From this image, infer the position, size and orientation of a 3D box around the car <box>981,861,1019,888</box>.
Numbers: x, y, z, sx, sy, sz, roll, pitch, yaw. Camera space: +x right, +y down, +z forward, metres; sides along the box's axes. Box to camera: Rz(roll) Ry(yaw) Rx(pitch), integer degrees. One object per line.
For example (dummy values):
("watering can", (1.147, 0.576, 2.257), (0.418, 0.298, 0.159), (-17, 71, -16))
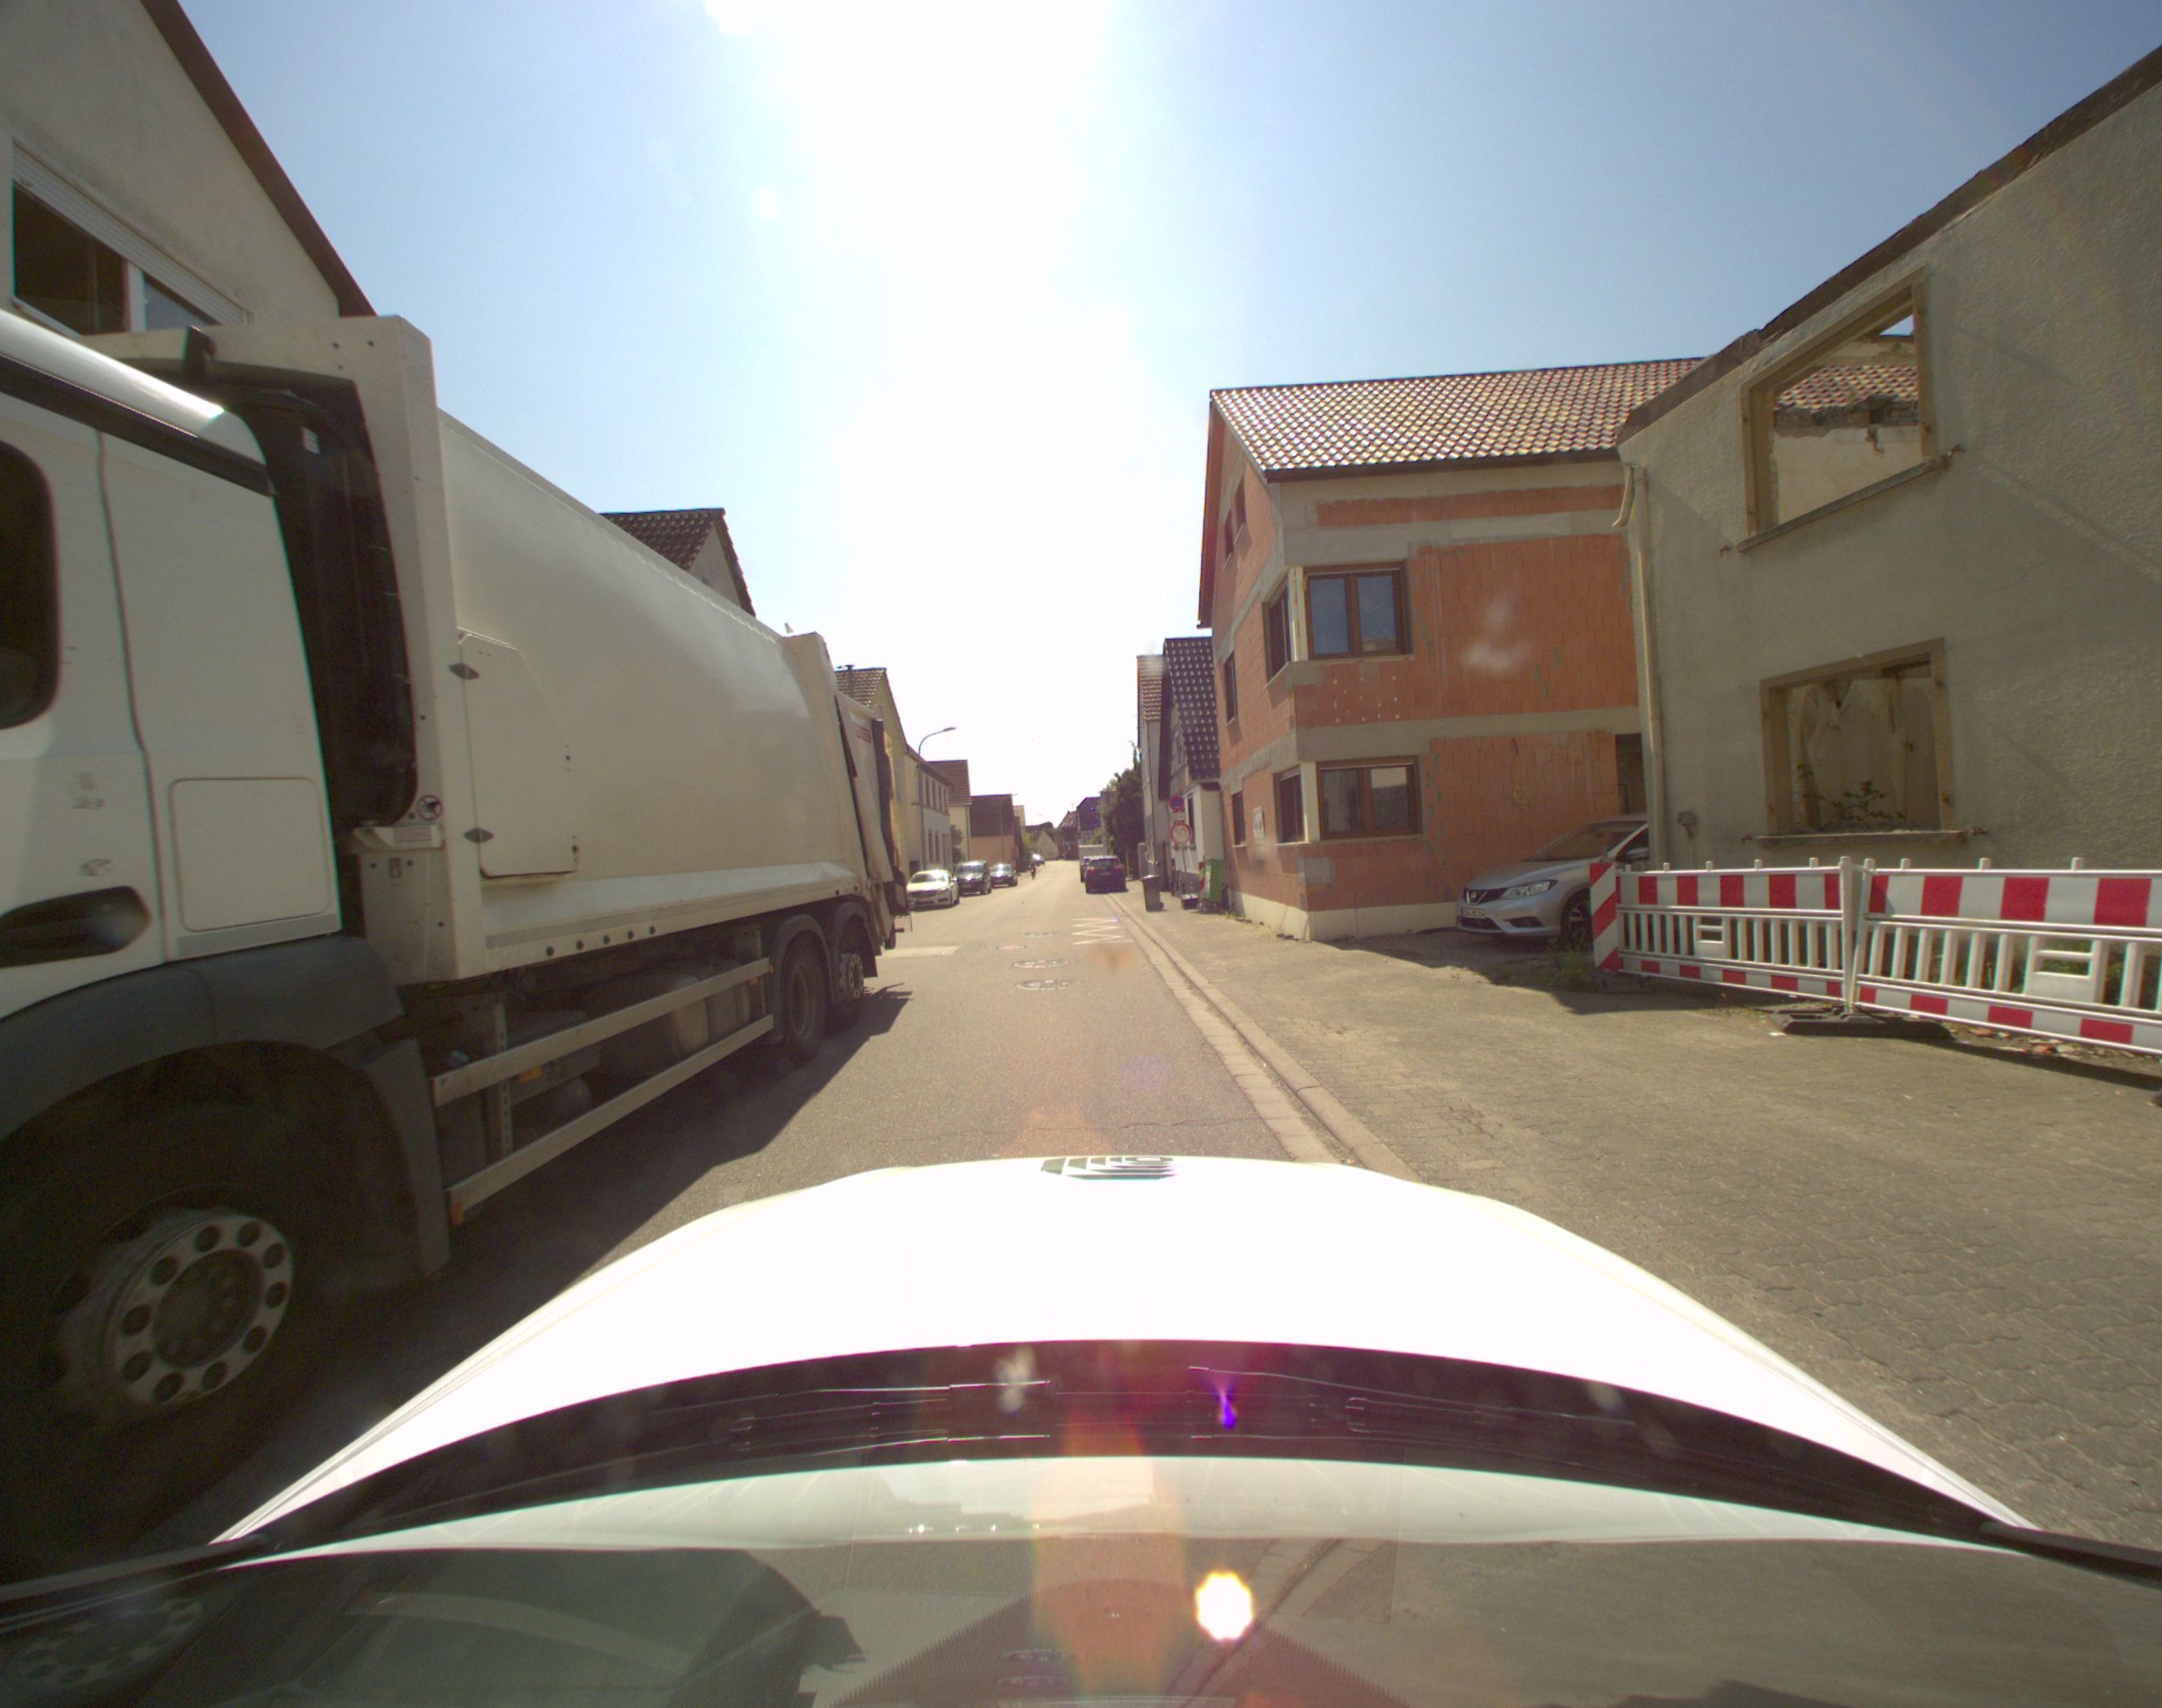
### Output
("car", (-5.389, 1.313, 54.743), (1.838, 1.526, 4.765), (-5, 0, 1))

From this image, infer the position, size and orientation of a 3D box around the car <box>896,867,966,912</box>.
("car", (-5.741, 1.328, 31.645), (1.829, 1.464, 4.269), (-4, 0, 0))

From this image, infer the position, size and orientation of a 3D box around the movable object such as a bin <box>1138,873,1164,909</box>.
("movable object such as a bin", (1.922, 1.007, 22.276), (0.534, 0.913, 0.554), (-5, 0, 17))

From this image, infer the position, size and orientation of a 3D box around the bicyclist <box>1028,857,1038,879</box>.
("bicyclist", (-4.124, 1.197, 70.145), (0.702, 1.770, 0.624), (-4, 0, -4))

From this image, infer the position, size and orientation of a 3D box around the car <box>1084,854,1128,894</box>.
("car", (1.106, 0.858, 37.396), (1.792, 1.560, 4.631), (-5, 0, 1))

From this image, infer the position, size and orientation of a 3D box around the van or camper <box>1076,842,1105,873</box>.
("van or camper", (0.854, 0.310, 77.887), (2.514, 2.696, 4.553), (-5, 0, -1))

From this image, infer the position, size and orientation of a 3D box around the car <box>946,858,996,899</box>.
("car", (-5.718, 1.243, 42.852), (1.828, 1.837, 4.354), (-5, 0, 1))

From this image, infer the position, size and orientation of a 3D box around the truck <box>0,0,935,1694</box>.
("truck", (-3.476, -0.199, 5.416), (2.687, 3.750, 10.868), (-5, 0, 0))

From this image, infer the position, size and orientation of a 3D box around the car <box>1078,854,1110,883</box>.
("car", (0.928, 0.908, 53.714), (1.786, 1.631, 4.365), (-5, 0, 3))

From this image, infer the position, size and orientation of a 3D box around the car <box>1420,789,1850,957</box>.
("car", (6.653, 0.197, 10.065), (4.083, 1.507, 1.866), (-5, 0, -6))

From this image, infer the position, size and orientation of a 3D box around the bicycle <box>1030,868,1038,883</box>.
("bicycle", (-4.055, 1.845, 70.194), (0.588, 1.148, 1.946), (-5, 0, -3))
